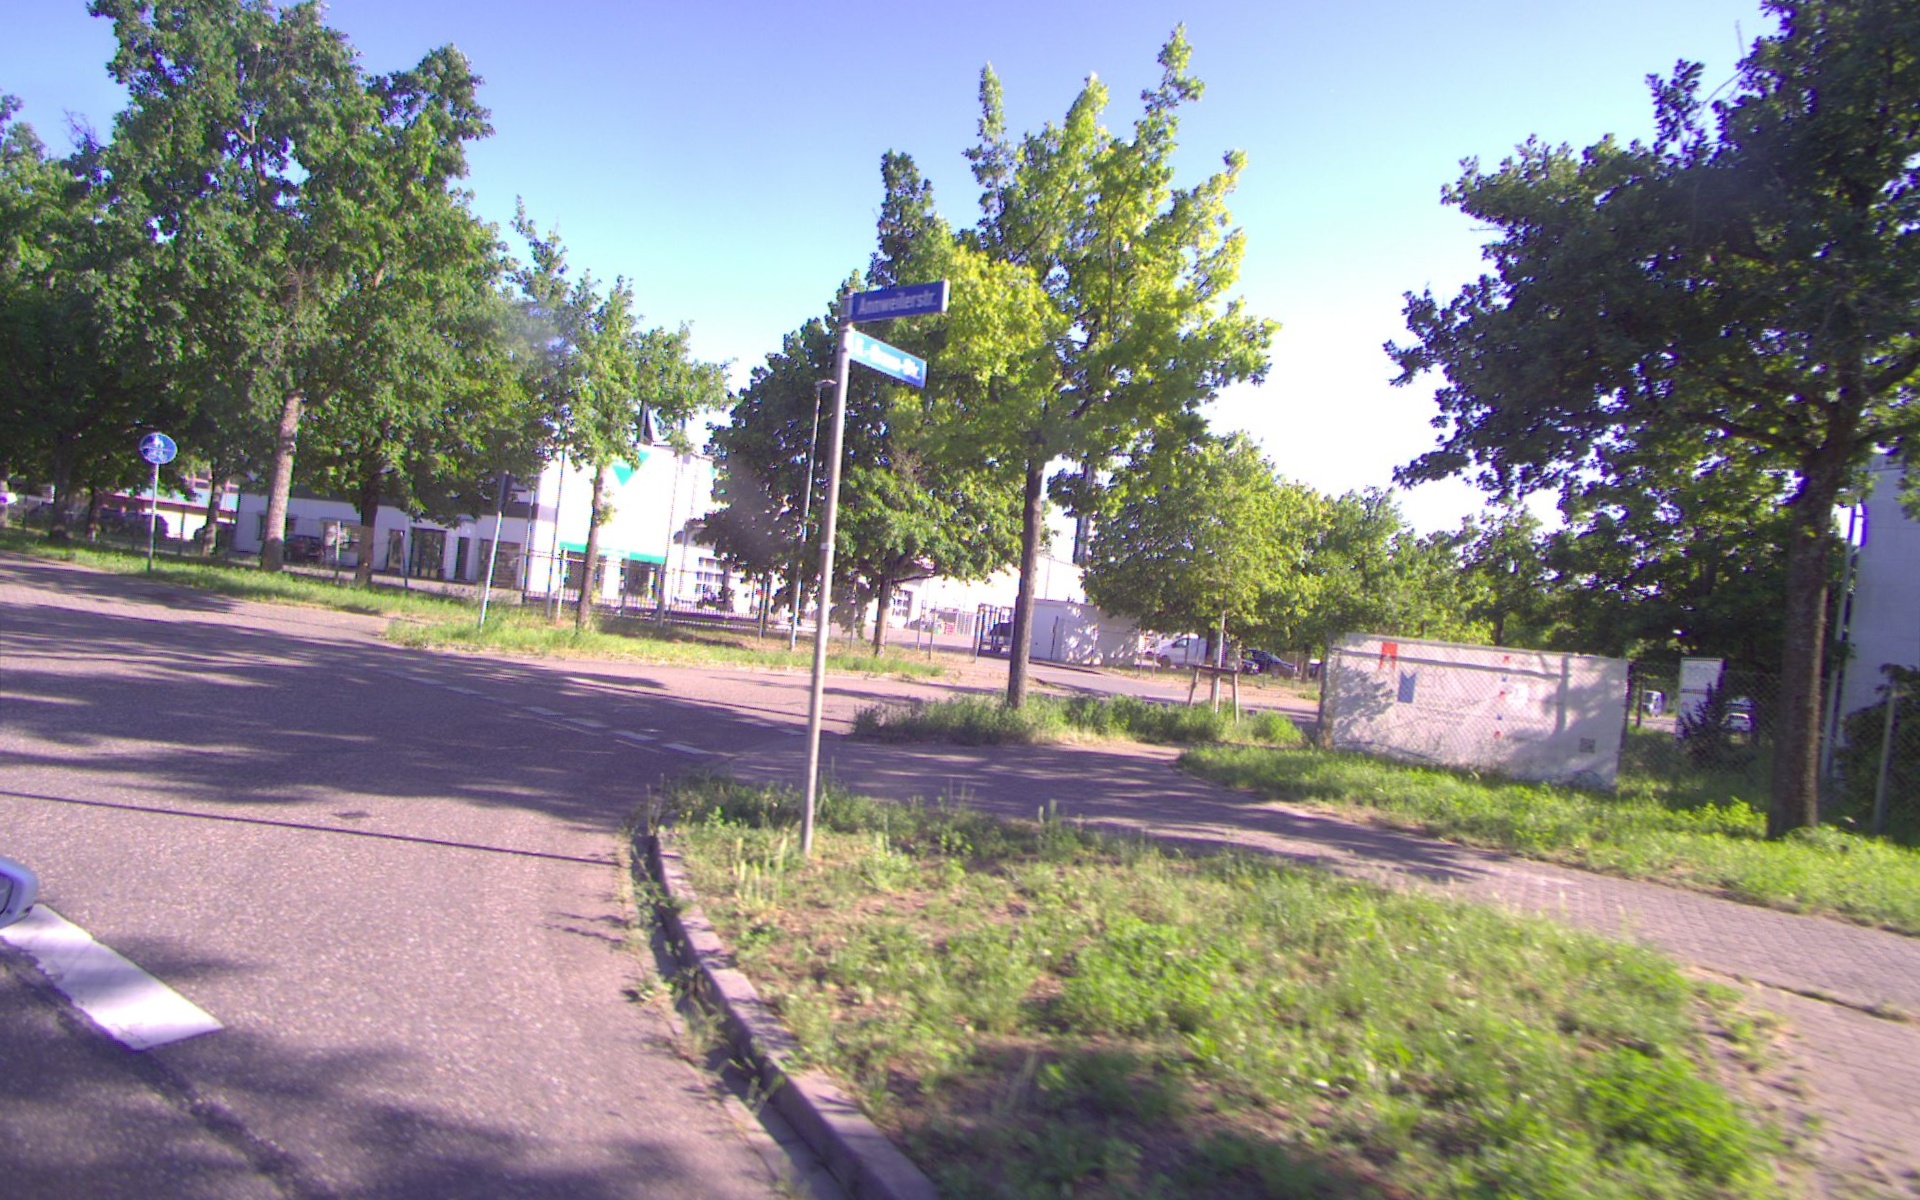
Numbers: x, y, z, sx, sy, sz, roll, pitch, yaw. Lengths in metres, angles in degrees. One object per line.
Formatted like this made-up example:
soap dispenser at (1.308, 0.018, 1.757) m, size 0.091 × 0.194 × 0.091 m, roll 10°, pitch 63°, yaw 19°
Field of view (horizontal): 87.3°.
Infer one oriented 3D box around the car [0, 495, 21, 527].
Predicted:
car at (-57.693, -5.443, 59.108) m, size 4.560 × 1.765 × 2.189 m, roll 7°, pitch -1°, yaw 27°

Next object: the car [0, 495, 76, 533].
car at (-56.447, -5.285, 61.377) m, size 4.560 × 1.765 × 2.189 m, roll 7°, pitch -1°, yaw 27°

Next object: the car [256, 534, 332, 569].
car at (-36.100, -2.616, 54.527) m, size 3.701 × 1.400 × 1.769 m, roll 7°, pitch -1°, yaw 27°

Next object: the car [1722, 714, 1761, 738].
car at (60.547, 9.773, 77.910) m, size 1.915 × 1.497 × 4.492 m, roll 6°, pitch -1°, yaw 43°

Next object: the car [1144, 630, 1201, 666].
car at (19.406, 4.379, 92.132) m, size 2.144 × 2.731 × 4.813 m, roll 7°, pitch -1°, yaw -30°

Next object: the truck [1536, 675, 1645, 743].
truck at (23.377, 4.069, 37.223) m, size 5.118 × 2.137 × 1.978 m, roll 8°, pitch -3°, yaw -41°

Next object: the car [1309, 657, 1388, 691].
car at (27.368, 5.214, 71.015) m, size 1.987 × 1.699 × 4.679 m, roll 7°, pitch -1°, yaw -42°

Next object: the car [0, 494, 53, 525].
car at (-66.734, -6.464, 70.138) m, size 2.151 × 1.765 × 4.641 m, roll 7°, pitch -1°, yaw 23°

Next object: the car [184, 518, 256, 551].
car at (-51.957, -4.591, 70.630) m, size 4.560 × 1.765 × 2.189 m, roll 7°, pitch -1°, yaw 27°

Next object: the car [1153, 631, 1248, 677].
car at (13.501, 3.027, 56.706) m, size 4.673 × 2.010 × 1.989 m, roll 6°, pitch -1°, yaw 44°

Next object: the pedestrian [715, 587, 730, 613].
pedestrian at (-13.927, 0.002, 59.045) m, size 0.708 × 1.450 × 0.748 m, roll 7°, pitch 0°, yaw -13°

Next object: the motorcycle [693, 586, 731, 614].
motorcycle at (-14.611, 0.014, 59.300) m, size 0.649 × 1.450 × 1.980 m, roll 7°, pitch -1°, yaw 44°

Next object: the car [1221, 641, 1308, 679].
car at (18.789, 3.703, 62.213) m, size 1.987 × 1.699 × 4.679 m, roll 7°, pitch -1°, yaw -42°

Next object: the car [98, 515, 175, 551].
car at (-54.289, -4.421, 66.301) m, size 4.560 × 1.765 × 2.189 m, roll 7°, pitch -1°, yaw 27°
